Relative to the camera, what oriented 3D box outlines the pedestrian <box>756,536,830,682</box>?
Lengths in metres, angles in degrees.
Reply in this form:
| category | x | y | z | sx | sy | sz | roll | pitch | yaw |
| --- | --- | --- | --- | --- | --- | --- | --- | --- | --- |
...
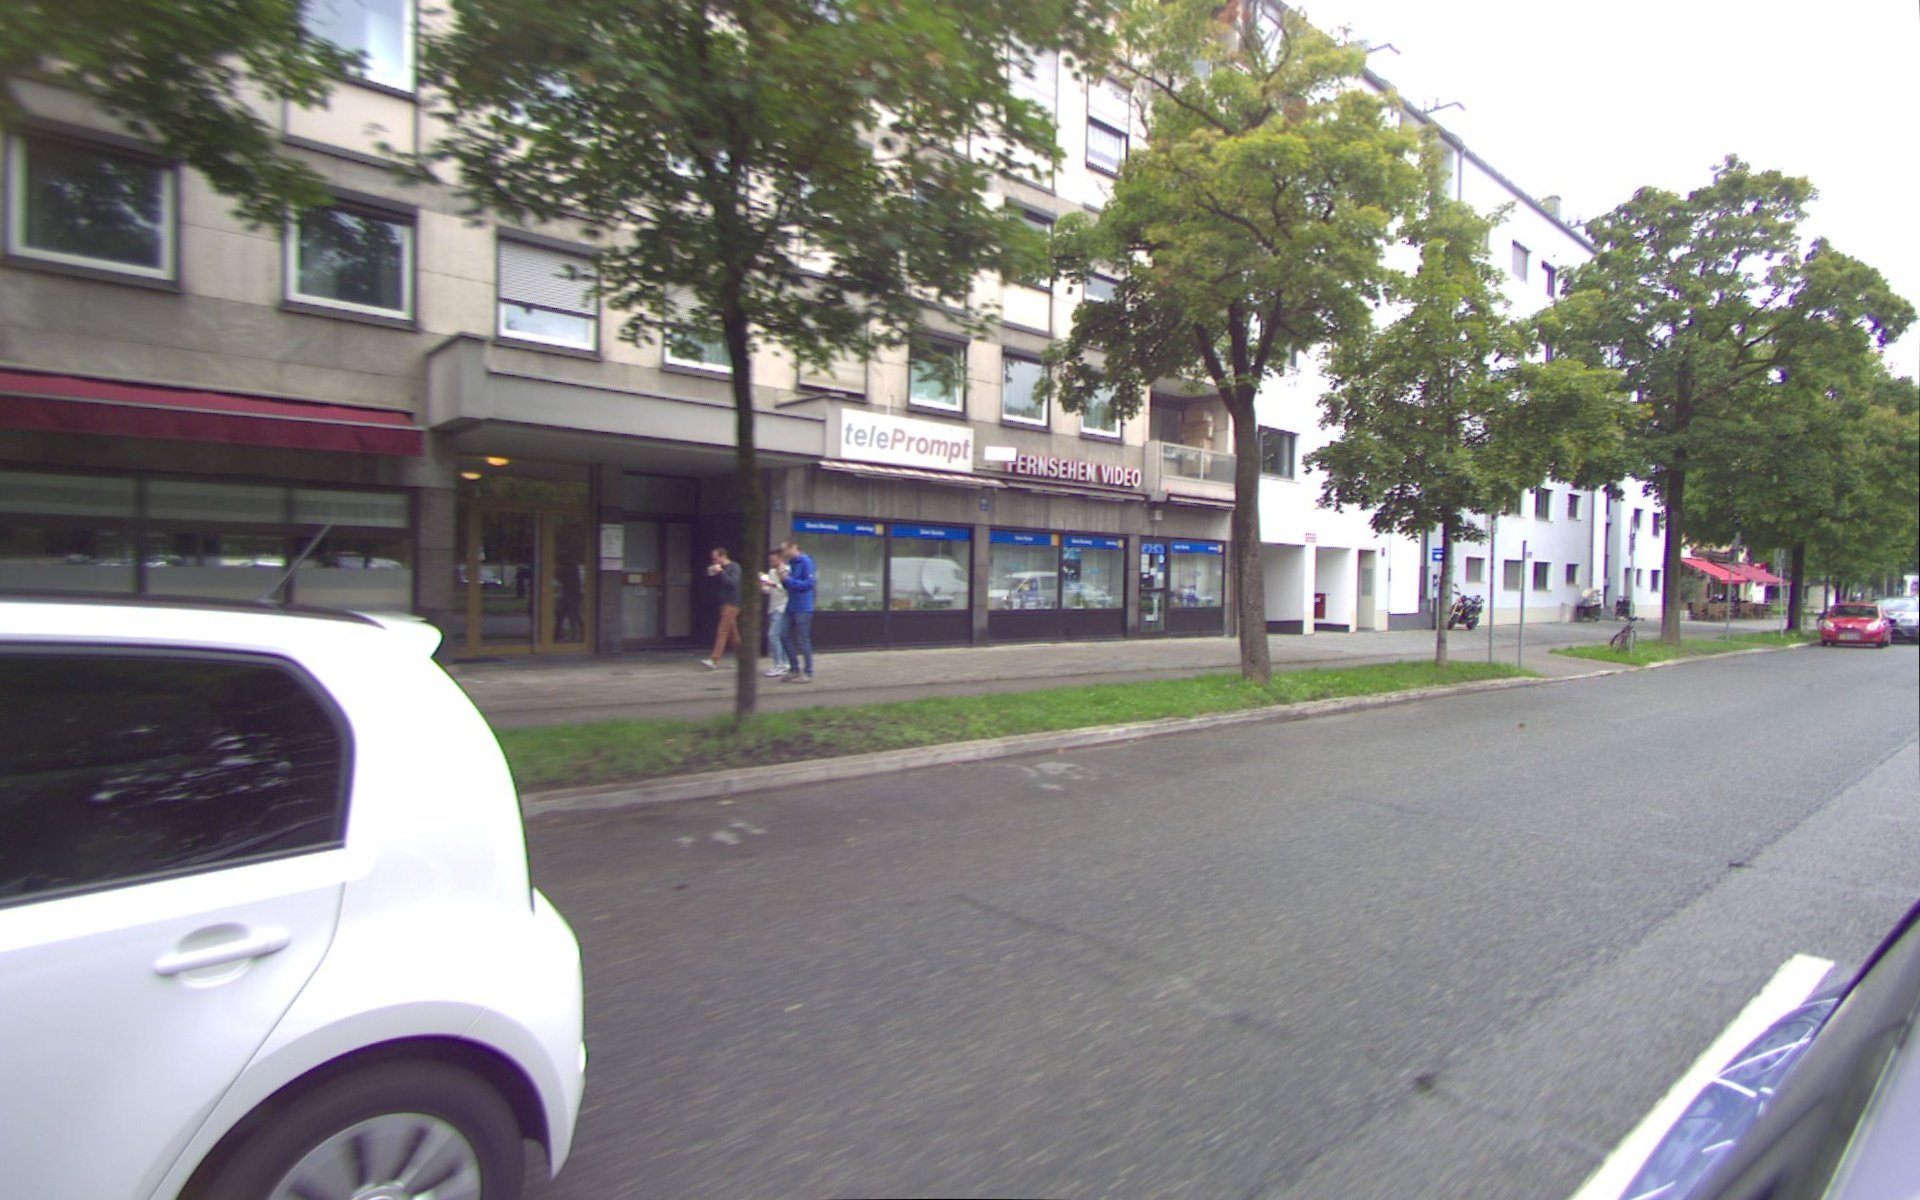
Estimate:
| category | x | y | z | sx | sy | sz | roll | pitch | yaw |
| --- | --- | --- | --- | --- | --- | --- | --- | --- | --- |
| pedestrian | -2.073 | 0.102 | 12.572 | 0.720 | 1.755 | 0.501 | 0 | 2 | -40 |

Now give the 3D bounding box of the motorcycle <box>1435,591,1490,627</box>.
| category | x | y | z | sx | sy | sz | roll | pitch | yaw |
| --- | --- | --- | --- | --- | --- | --- | --- | --- | --- |
| motorcycle | 15.851 | 0.274 | 31.917 | 2.160 | 1.099 | 0.763 | 0 | 1 | -40 |

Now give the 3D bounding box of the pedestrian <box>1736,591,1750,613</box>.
| category | x | y | z | sx | sy | sz | roll | pitch | yaw |
| --- | --- | --- | --- | --- | --- | --- | --- | --- | --- |
| pedestrian | 46.788 | 0.116 | 60.463 | 0.478 | 1.284 | 0.539 | 0 | 0 | -41 |

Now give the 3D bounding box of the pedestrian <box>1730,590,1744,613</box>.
| category | x | y | z | sx | sy | sz | roll | pitch | yaw |
| --- | --- | --- | --- | --- | --- | --- | --- | --- | --- |
| pedestrian | 45.888 | 0.089 | 59.782 | 0.543 | 1.356 | 0.539 | 0 | 0 | -41 |

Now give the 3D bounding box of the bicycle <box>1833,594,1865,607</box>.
| category | x | y | z | sx | sy | sz | roll | pitch | yaw |
| --- | --- | --- | --- | --- | --- | --- | --- | --- | --- |
| bicycle | 77.069 | 0.007 | 87.760 | 0.653 | 1.081 | 2.027 | 0 | 1 | -44 |

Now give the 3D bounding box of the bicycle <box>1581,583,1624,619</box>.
| category | x | y | z | sx | sy | sz | roll | pitch | yaw |
| --- | --- | --- | --- | --- | --- | --- | --- | --- | --- |
| bicycle | 26.834 | 0.019 | 42.248 | 2.547 | 1.424 | 0.704 | 0 | 4 | -41 |

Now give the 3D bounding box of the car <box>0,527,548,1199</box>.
| category | x | y | z | sx | sy | sz | roll | pitch | yaw |
| --- | --- | --- | --- | --- | --- | --- | --- | --- | --- |
| car | -2.637 | 0.648 | 1.538 | 3.376 | 1.509 | 1.689 | 0 | 0 | -42 |

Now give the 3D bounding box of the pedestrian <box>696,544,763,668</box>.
| category | x | y | z | sx | sy | sz | roll | pitch | yaw |
| --- | --- | --- | --- | --- | --- | --- | --- | --- | --- |
| pedestrian | -3.181 | 0.072 | 13.949 | 0.712 | 1.661 | 0.542 | 0 | 1 | -44 |

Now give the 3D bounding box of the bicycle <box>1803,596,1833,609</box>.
| category | x | y | z | sx | sy | sz | roll | pitch | yaw |
| --- | --- | --- | --- | --- | --- | --- | --- | --- | --- |
| bicycle | 77.702 | 0.235 | 91.647 | 0.653 | 1.081 | 2.027 | 0 | 1 | -44 |

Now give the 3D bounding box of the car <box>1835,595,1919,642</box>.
| category | x | y | z | sx | sy | sz | roll | pitch | yaw |
| --- | --- | --- | --- | --- | --- | --- | --- | --- | --- |
| car | 30.729 | 0.584 | 33.710 | 3.924 | 1.459 | 1.526 | 0 | 1 | -35 |

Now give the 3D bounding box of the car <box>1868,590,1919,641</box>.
| category | x | y | z | sx | sy | sz | roll | pitch | yaw |
| --- | --- | --- | --- | --- | --- | --- | --- | --- | --- |
| car | 34.906 | 0.545 | 37.054 | 4.428 | 1.768 | 1.833 | 0 | 1 | -40 |

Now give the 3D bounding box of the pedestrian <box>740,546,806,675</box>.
| category | x | y | z | sx | sy | sz | roll | pitch | yaw |
| --- | --- | --- | --- | --- | --- | --- | --- | --- | --- |
| pedestrian | -2.471 | 0.126 | 13.345 | 0.630 | 1.649 | 0.550 | 0 | 2 | -40 |

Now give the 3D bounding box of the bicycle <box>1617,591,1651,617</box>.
| category | x | y | z | sx | sy | sz | roll | pitch | yaw |
| --- | --- | --- | --- | --- | --- | --- | --- | --- | --- |
| bicycle | 30.186 | 0.170 | 45.318 | 2.157 | 1.059 | 0.623 | 0 | 5 | -41 |

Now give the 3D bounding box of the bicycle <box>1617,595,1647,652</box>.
| category | x | y | z | sx | sy | sz | roll | pitch | yaw |
| --- | --- | --- | --- | --- | --- | --- | --- | --- | --- |
| bicycle | 15.733 | 0.519 | 23.712 | 0.452 | 1.271 | 2.126 | 1 | 1 | 31 |

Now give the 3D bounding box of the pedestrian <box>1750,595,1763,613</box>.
| category | x | y | z | sx | sy | sz | roll | pitch | yaw |
| --- | --- | --- | --- | --- | --- | --- | --- | --- | --- |
| pedestrian | 48.835 | 0.244 | 62.025 | 0.478 | 1.067 | 0.539 | 0 | 0 | -40 |
